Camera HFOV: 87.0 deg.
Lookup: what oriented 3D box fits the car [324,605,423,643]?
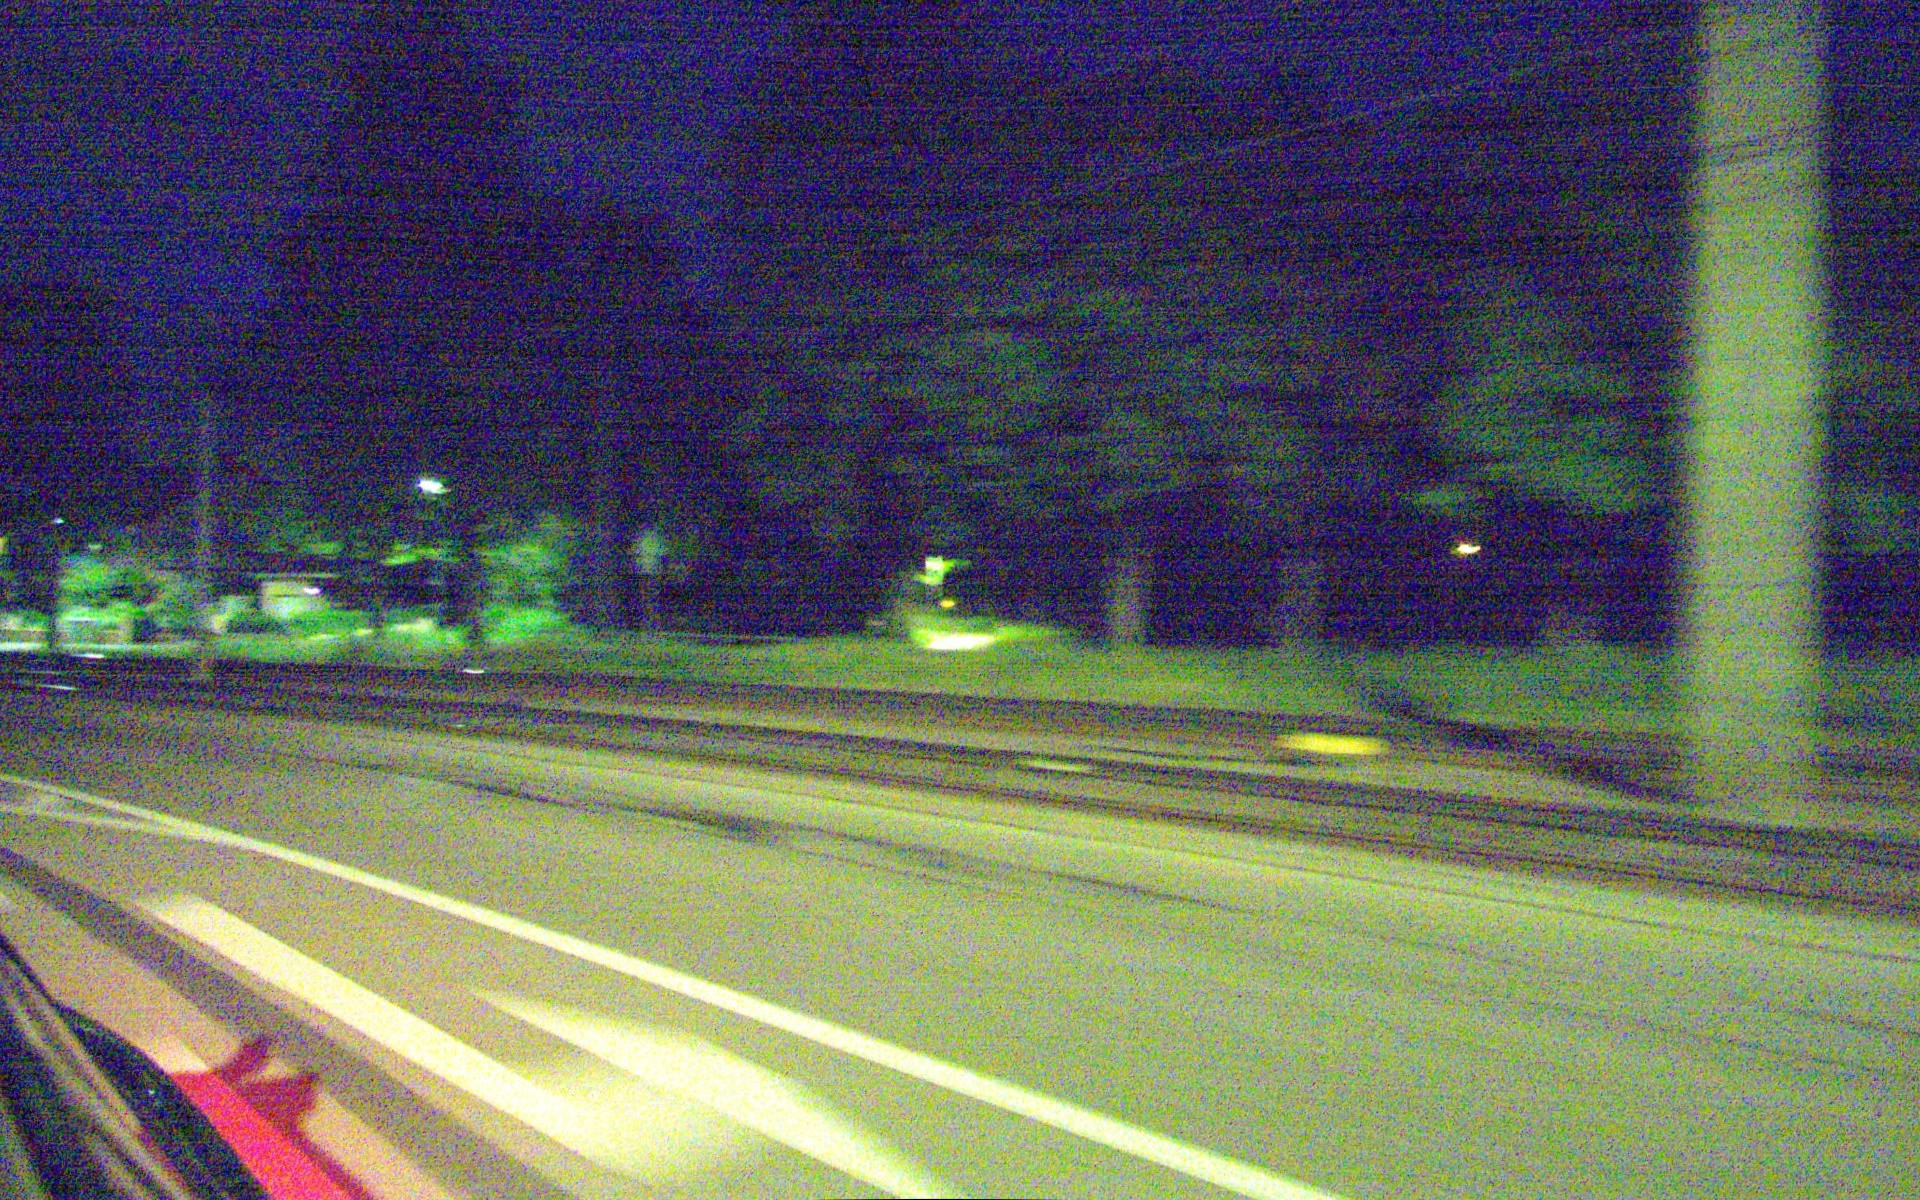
[{"bbox_3d":[-28.632,1.116,49.533,1.746,1.621,3.968,1,2,24],"label":"car"}]
